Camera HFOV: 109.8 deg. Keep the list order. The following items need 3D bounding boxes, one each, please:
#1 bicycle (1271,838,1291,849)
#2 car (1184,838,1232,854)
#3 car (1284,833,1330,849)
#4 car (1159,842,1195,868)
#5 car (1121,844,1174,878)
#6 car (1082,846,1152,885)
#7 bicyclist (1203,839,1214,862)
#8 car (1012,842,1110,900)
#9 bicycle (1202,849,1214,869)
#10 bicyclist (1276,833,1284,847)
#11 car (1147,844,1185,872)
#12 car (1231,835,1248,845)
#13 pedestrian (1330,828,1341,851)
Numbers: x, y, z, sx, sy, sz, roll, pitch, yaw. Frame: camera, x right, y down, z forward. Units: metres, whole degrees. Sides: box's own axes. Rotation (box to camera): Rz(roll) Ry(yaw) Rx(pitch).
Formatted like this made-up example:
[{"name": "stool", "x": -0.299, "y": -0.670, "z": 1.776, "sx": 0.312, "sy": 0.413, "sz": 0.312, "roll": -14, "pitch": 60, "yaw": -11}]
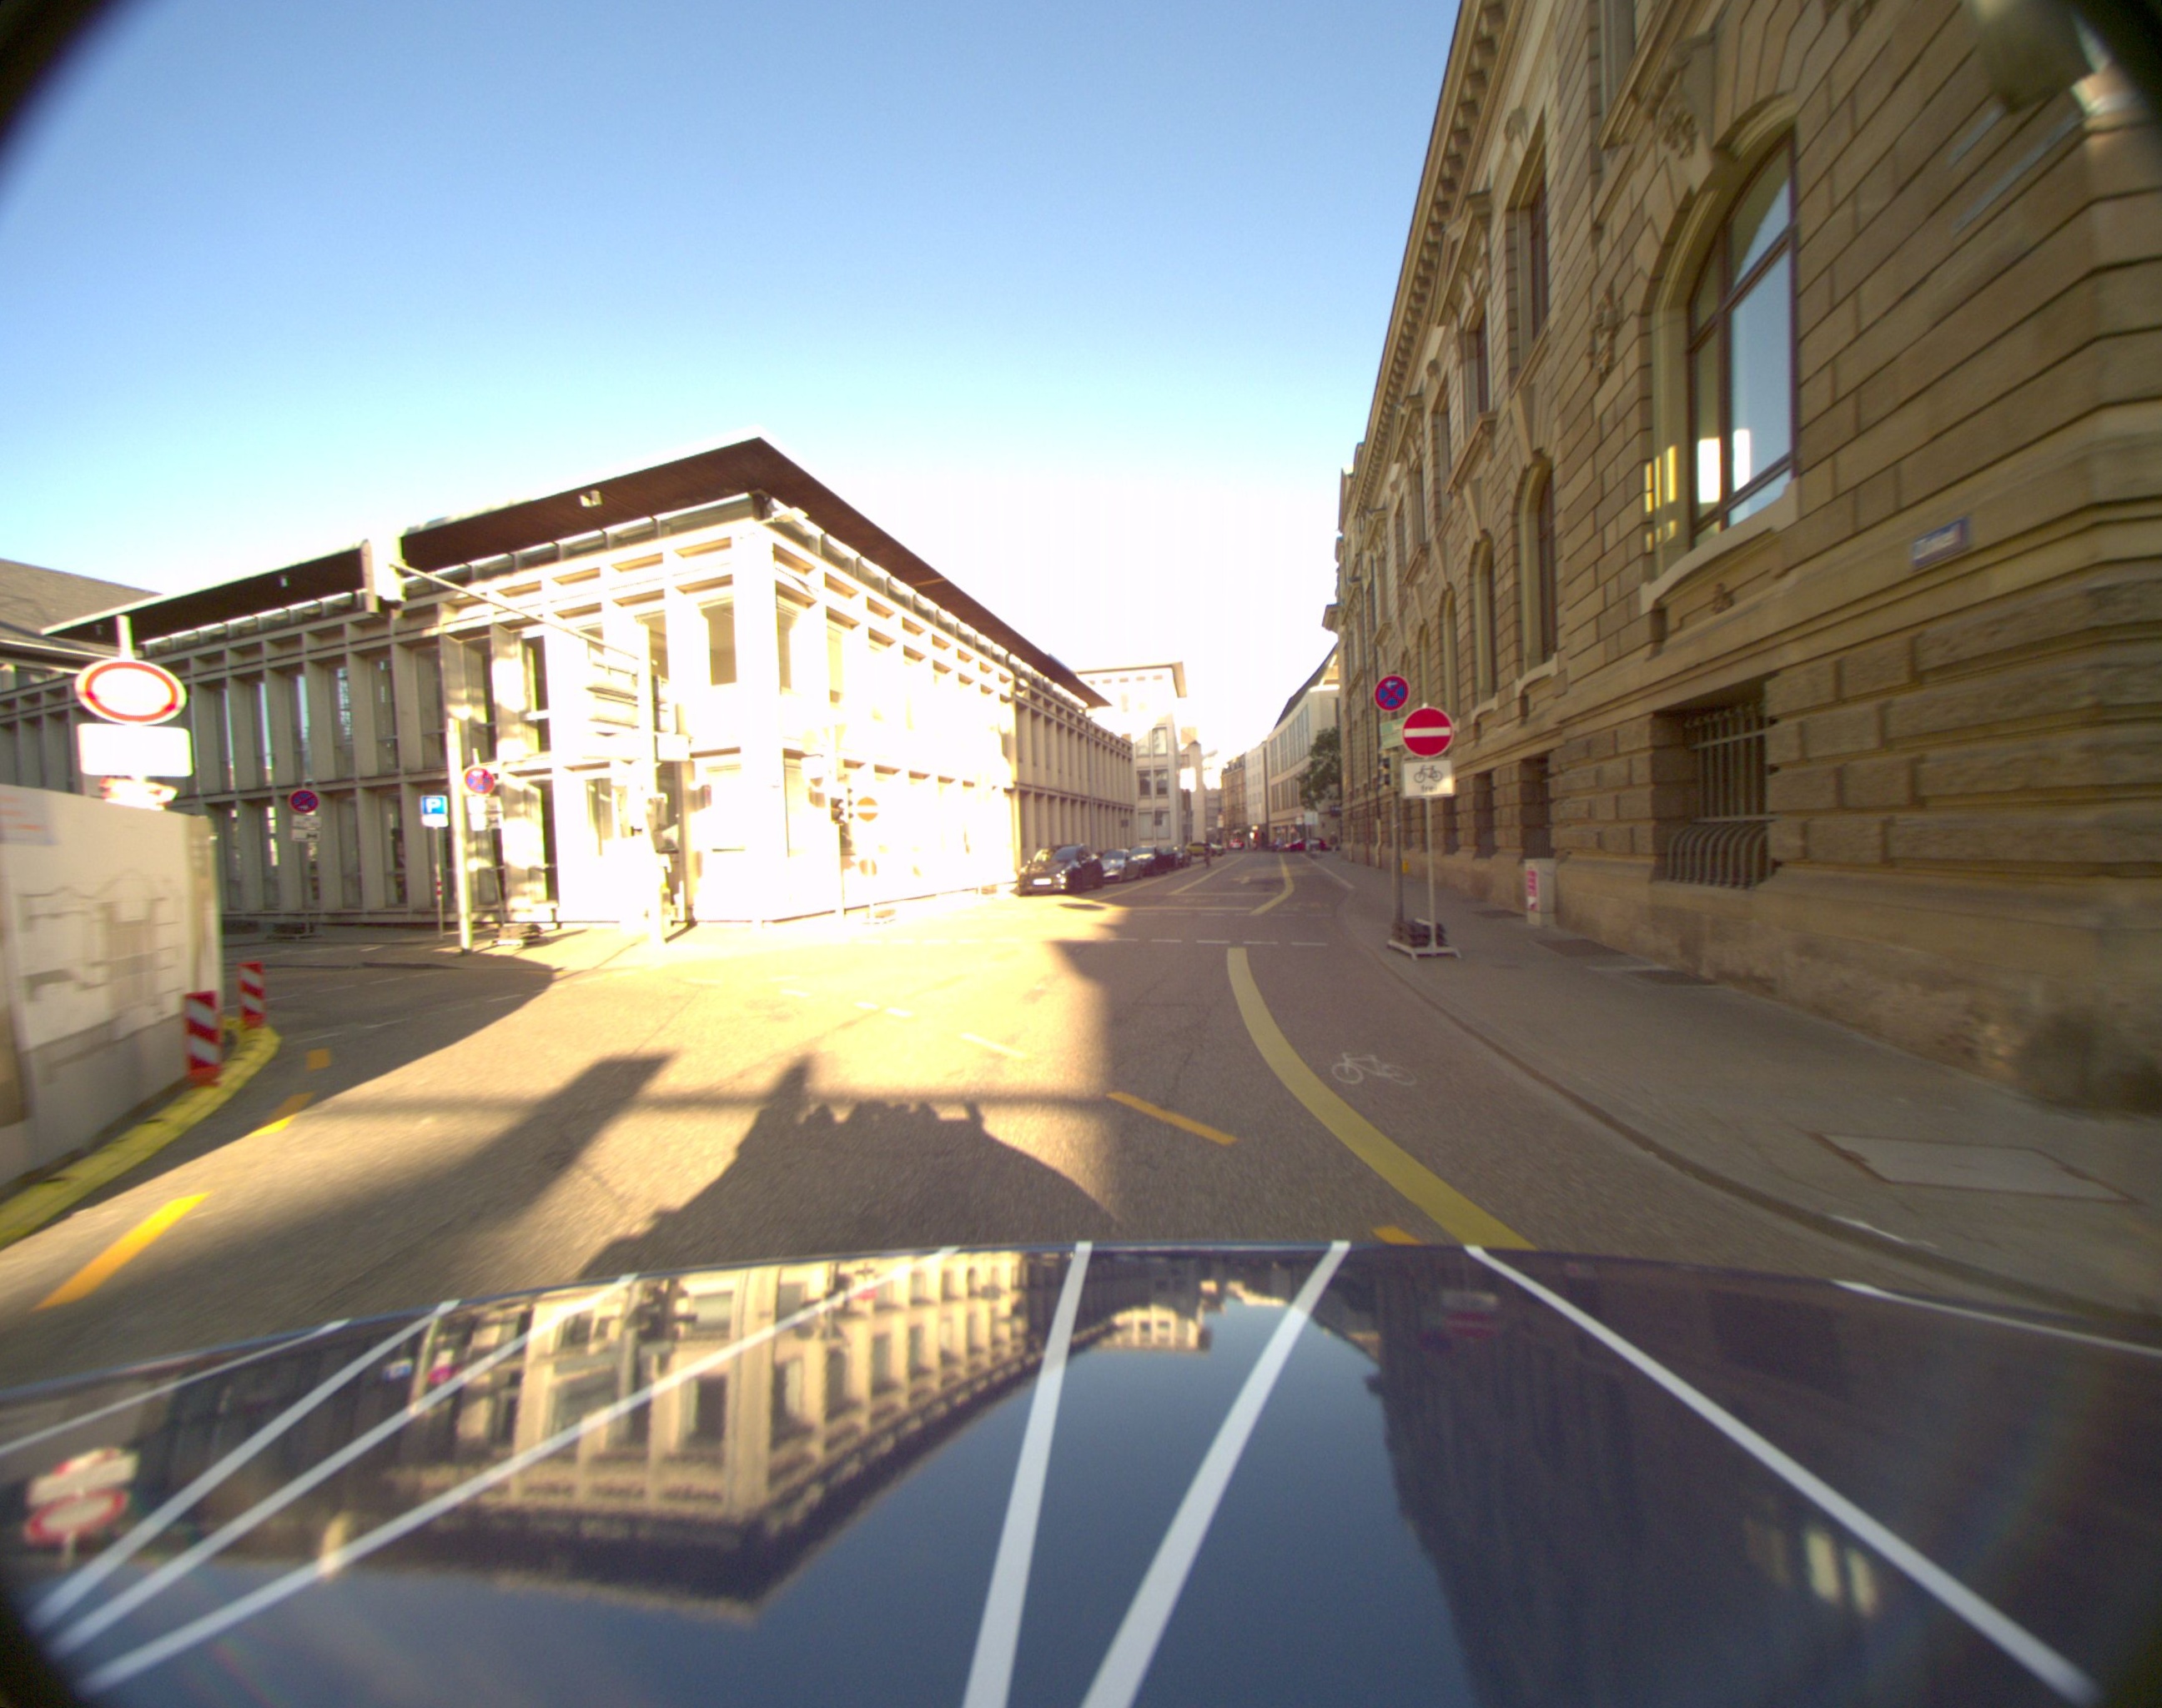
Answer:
[{"name": "bicycle", "x": 19.871, "y": -1.051, "z": 75.567, "sx": 1.870, "sy": 0.905, "sz": 0.535, "roll": -3, "pitch": 6, "yaw": 11}, {"name": "car", "x": 12.696, "y": -0.796, "z": 76.081, "sx": 4.243, "sy": 1.483, "sz": 1.859, "roll": -2, "pitch": 1, "yaw": 34}, {"name": "car", "x": 23.398, "y": -1.396, "z": 78.883, "sx": 4.267, "sy": 1.462, "sz": 1.632, "roll": -2, "pitch": 1, "yaw": 2}, {"name": "car", "x": 6.164, "y": 0.019, "z": 48.470, "sx": 1.696, "sy": 1.483, "sz": 4.258, "roll": -2, "pitch": 1, "yaw": 14}, {"name": "car", "x": 3.328, "y": 0.304, "z": 37.423, "sx": 1.699, "sy": 1.462, "sz": 4.796, "roll": -2, "pitch": 1, "yaw": 15}, {"name": "car", "x": 1.578, "y": 0.440, "z": 31.730, "sx": 1.699, "sy": 1.336, "sz": 4.603, "roll": -2, "pitch": 1, "yaw": 18}, {"name": "bicyclist", "x": 7.257, "y": -0.199, "z": 43.319, "sx": 0.537, "sy": 1.281, "sz": 0.552, "roll": -2, "pitch": 2, "yaw": 13}, {"name": "car", "x": -0.541, "y": 0.495, "z": 25.271, "sx": 1.896, "sy": 1.614, "sz": 4.625, "roll": -2, "pitch": 1, "yaw": 16}, {"name": "bicycle", "x": 7.255, "y": 0.261, "z": 43.234, "sx": 0.534, "sy": 1.060, "sz": 1.427, "roll": -2, "pitch": 1, "yaw": 13}, {"name": "bicyclist", "x": 19.789, "y": -1.403, "z": 75.557, "sx": 0.612, "sy": 1.281, "sz": 0.538, "roll": -2, "pitch": 1, "yaw": 11}, {"name": "car", "x": 4.879, "y": 0.210, "z": 43.256, "sx": 1.630, "sy": 1.392, "sz": 3.889, "roll": -2, "pitch": 1, "yaw": 13}, {"name": "car", "x": 25.657, "y": -2.254, "z": 123.362, "sx": 2.053, "sy": 1.482, "sz": 4.271, "roll": -2, "pitch": 1, "yaw": 3}, {"name": "pedestrian", "x": 20.336, "y": -1.175, "z": 60.724, "sx": 0.764, "sy": 1.769, "sz": 0.623, "roll": -2, "pitch": 2, "yaw": 16}]
